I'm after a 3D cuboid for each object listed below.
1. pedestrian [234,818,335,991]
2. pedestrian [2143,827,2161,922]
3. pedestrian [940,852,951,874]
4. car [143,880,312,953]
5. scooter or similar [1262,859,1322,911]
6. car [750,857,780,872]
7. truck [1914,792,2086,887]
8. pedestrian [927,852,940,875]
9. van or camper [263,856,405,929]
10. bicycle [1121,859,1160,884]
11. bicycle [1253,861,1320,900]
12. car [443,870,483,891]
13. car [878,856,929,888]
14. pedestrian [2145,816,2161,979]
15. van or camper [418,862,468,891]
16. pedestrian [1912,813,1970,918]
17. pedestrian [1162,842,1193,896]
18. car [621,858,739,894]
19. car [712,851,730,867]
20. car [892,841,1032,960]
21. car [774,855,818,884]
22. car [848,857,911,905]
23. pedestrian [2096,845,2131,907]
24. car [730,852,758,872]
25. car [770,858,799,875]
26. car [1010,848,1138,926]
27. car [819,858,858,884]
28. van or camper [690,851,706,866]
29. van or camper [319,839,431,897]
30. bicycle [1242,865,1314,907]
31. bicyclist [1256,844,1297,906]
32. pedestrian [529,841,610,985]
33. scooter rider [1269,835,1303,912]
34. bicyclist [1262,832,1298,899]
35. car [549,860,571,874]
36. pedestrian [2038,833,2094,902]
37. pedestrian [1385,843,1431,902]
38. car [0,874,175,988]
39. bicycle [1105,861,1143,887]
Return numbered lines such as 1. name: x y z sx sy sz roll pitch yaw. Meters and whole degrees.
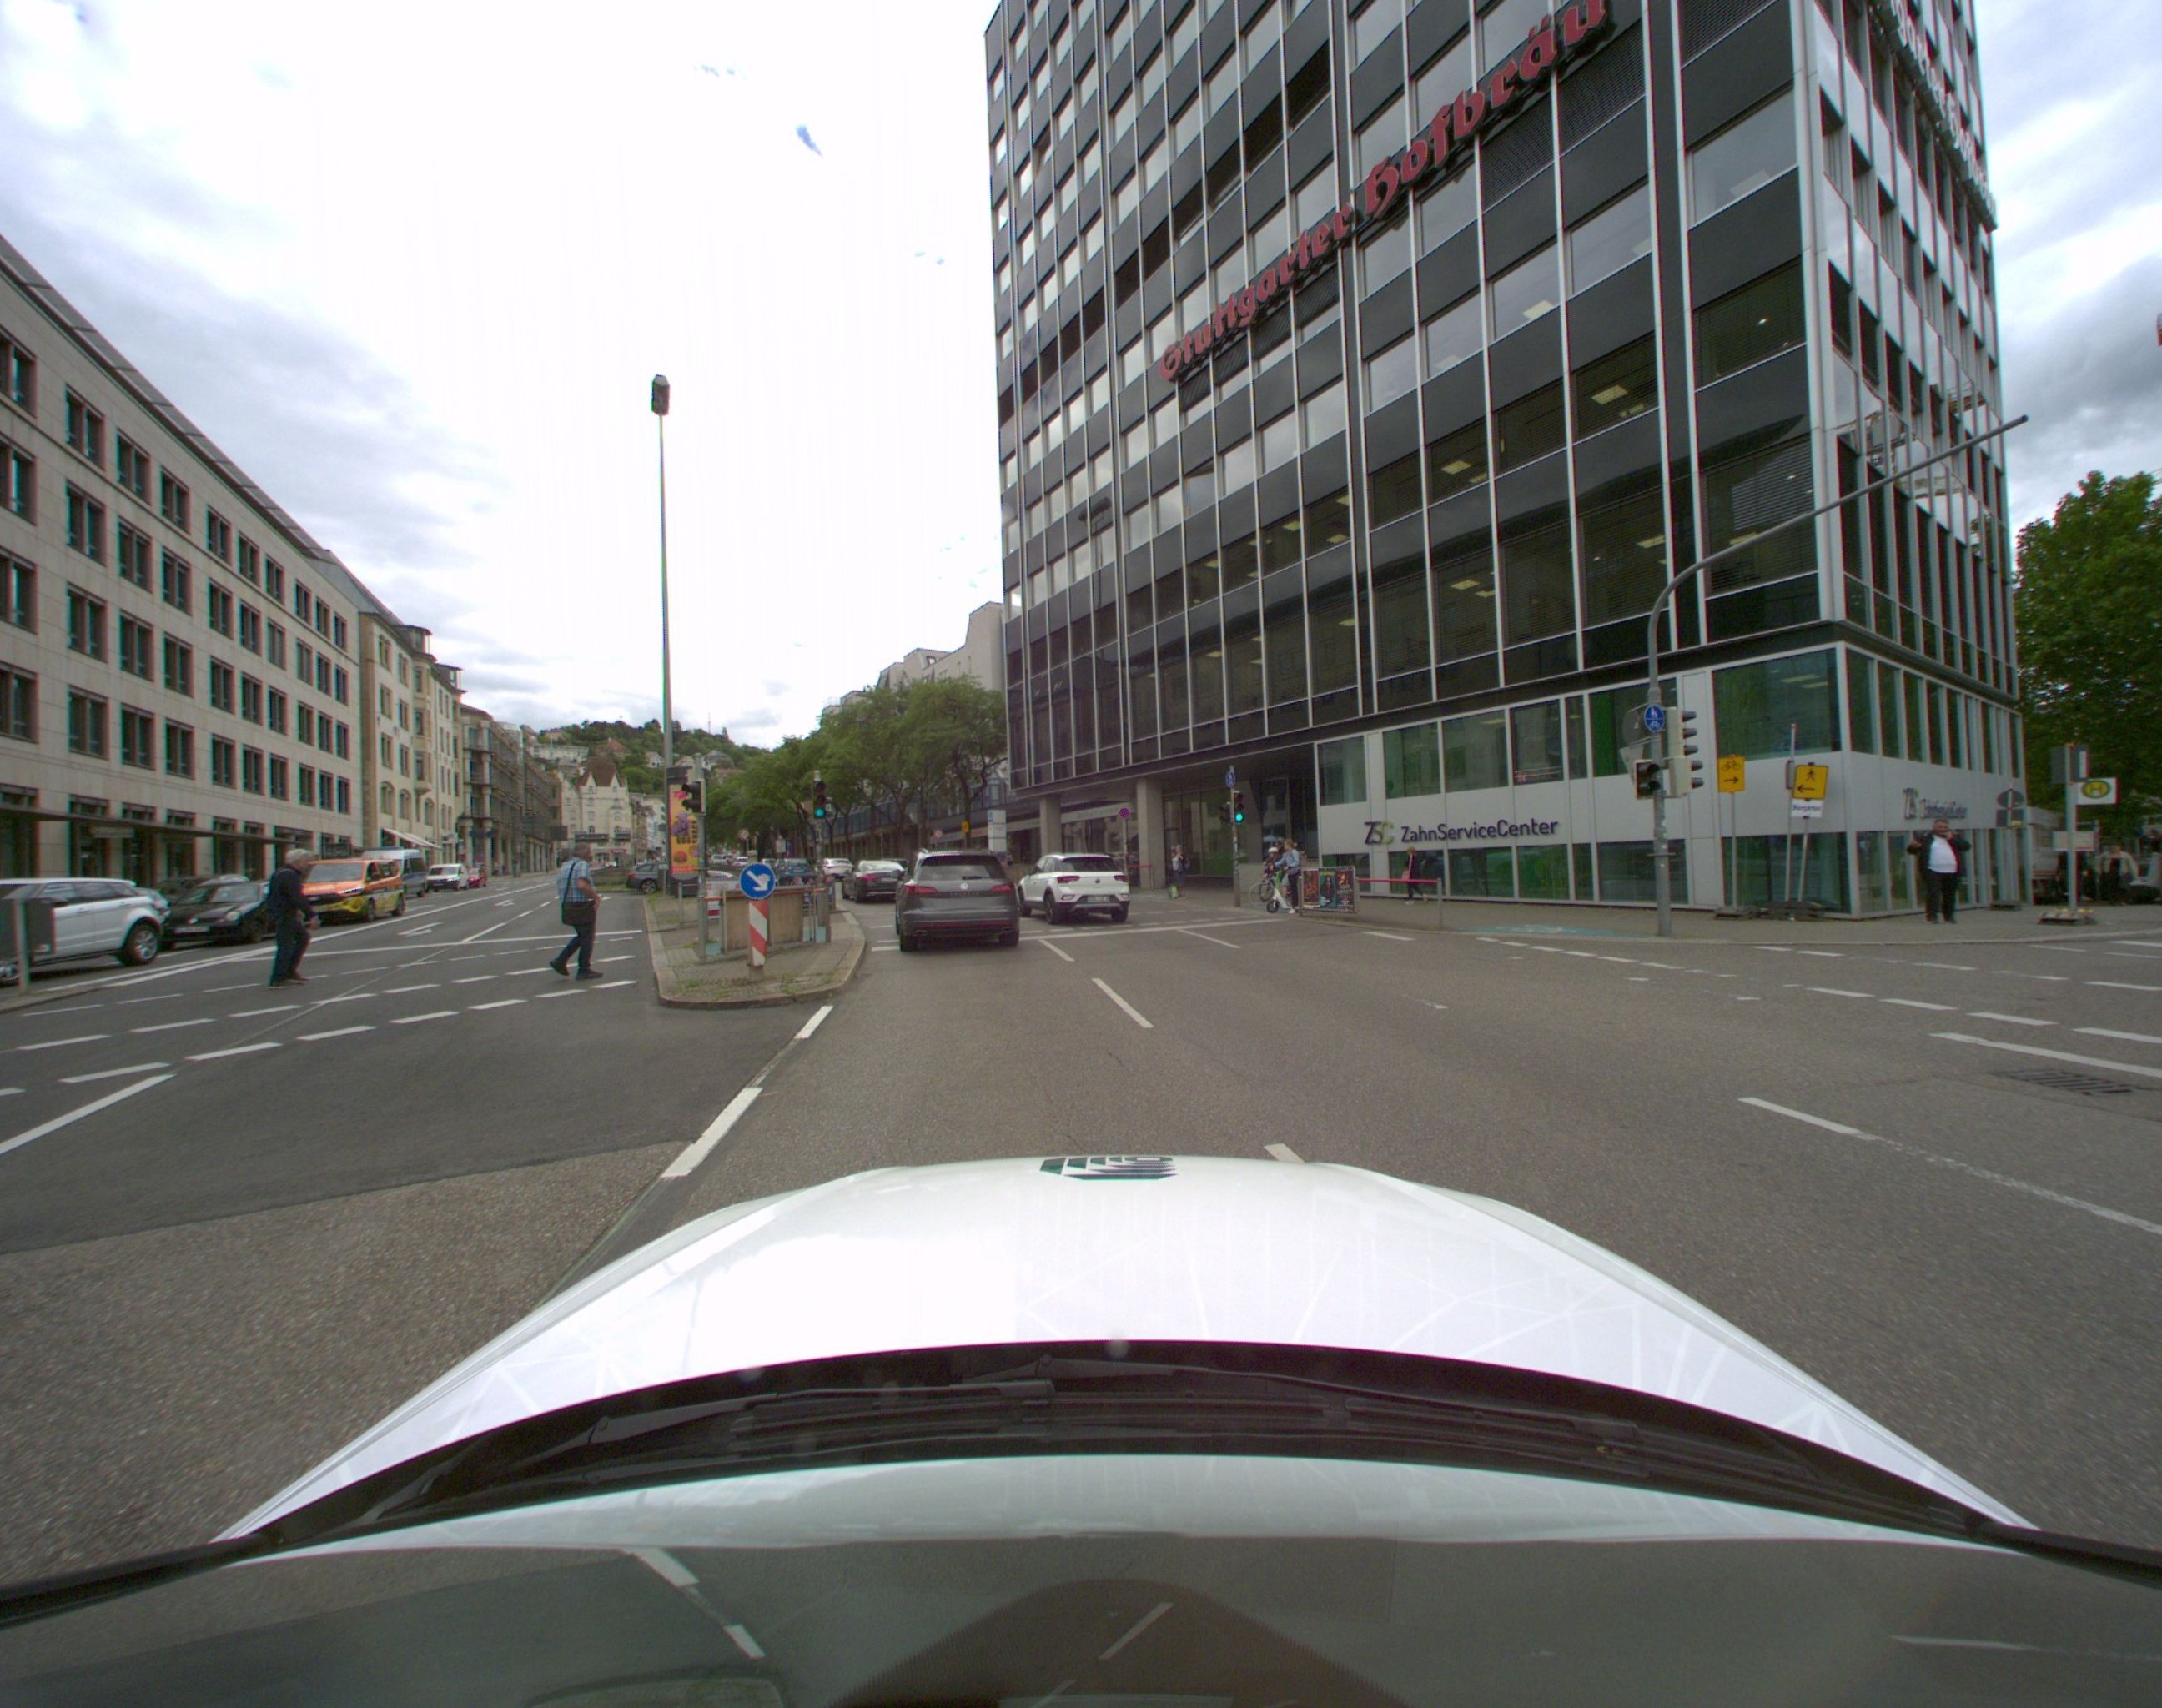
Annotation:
1. pedestrian: -10.538 0.632 10.776 0.753 2.172 0.884 -2 0 44
2. pedestrian: 19.360 0.356 14.310 0.589 1.678 0.634 -2 0 -13
3. pedestrian: -10.492 0.709 63.058 0.600 1.628 0.749 -2 0 -34
4. car: -19.791 1.380 19.085 1.565 1.379 3.600 -3 1 -27
5. scooter or similar: 5.104 0.748 19.679 1.308 1.176 0.596 -3 0 20
6. car: -32.011 1.059 82.404 2.069 1.418 4.291 -3 1 -31
7. truck: 33.252 -0.503 29.370 8.221 3.064 2.324 -1 -1 -29
8. pedestrian: -11.358 0.720 62.551 0.600 1.754 0.931 -2 0 -34
9. van or camper: -22.736 1.094 25.039 1.924 1.921 5.037 -3 1 -28
10. bicycle: 2.525 0.745 34.525 1.467 1.048 0.718 -1 0 41
11. bicycle: 5.929 0.764 23.566 1.756 1.006 0.681 -2 2 1
12. car: -44.784 1.903 59.095 1.798 1.406 3.549 -2 0 -30
13. car: -8.790 0.842 40.173 1.840 1.432 4.118 -1 1 -21
14. pedestrian: 11.306 0.448 8.133 0.541 1.698 0.807 -2 0 32
15. van or camper: -41.727 1.425 53.330 1.879 1.751 4.444 -1 0 -29
16. pedestrian: 14.662 0.191 13.900 0.594 1.748 0.629 -1 0 -45
17. pedestrian: 3.153 0.493 26.577 0.528 1.711 0.745 -3 -1 -34
18. car: -18.158 0.961 37.122 4.566 1.458 1.868 -1 0 -21
19. car: -46.180 0.665 104.448 1.842 1.874 4.827 -3 0 -27
20. car: -2.261 0.686 14.421 1.973 1.695 4.204 -3 1 -14
21. car: -16.797 0.906 47.835 1.843 1.517 3.732 -3 0 -28
22. car: -6.945 0.860 27.793 1.838 1.395 4.123 0 1 -18
23. pedestrian: 26.420 0.552 20.839 0.556 1.534 0.512 -1 0 -37
24. car: -28.625 0.684 69.109 1.842 1.567 3.734 -3 0 -26
25. car: -25.275 1.048 69.363 1.842 1.363 3.734 -3 0 -27
26. car: -0.280 0.712 19.042 1.803 1.545 3.910 -3 0 -19
27. car: -15.354 1.073 51.452 1.841 1.517 3.736 -3 0 -25
28. van or camper: -81.240 0.953 172.622 2.643 3.178 5.750 -1 0 -28
29. van or camper: -36.465 0.710 42.354 3.019 2.726 6.189 -1 0 -28
30. bicycle: 5.082 0.833 21.022 1.648 1.027 0.585 -3 0 33
31. bicyclist: 5.052 0.537 21.042 0.835 1.549 0.569 -3 0 33
32. pedestrian: -6.731 0.744 10.754 0.720 1.790 0.628 -5 3 -28
33. scooter rider: 4.971 0.463 19.722 0.636 1.808 0.596 -3 0 20
34. bicyclist: 5.755 0.320 23.538 0.808 1.845 0.676 -4 4 1
35. car: -59.073 1.453 92.372 1.931 1.527 4.497 -1 0 -30
36. pedestrian: 25.858 0.351 21.382 0.851 1.746 0.865 -1 0 -37
37. pedestrian: 8.282 0.456 20.645 0.608 1.442 0.830 -3 0 -33
38. car: -16.948 1.174 12.839 1.741 1.598 4.289 -2 0 -21
39. bicycle: 1.795 0.844 34.124 1.467 1.048 0.718 -1 0 41
